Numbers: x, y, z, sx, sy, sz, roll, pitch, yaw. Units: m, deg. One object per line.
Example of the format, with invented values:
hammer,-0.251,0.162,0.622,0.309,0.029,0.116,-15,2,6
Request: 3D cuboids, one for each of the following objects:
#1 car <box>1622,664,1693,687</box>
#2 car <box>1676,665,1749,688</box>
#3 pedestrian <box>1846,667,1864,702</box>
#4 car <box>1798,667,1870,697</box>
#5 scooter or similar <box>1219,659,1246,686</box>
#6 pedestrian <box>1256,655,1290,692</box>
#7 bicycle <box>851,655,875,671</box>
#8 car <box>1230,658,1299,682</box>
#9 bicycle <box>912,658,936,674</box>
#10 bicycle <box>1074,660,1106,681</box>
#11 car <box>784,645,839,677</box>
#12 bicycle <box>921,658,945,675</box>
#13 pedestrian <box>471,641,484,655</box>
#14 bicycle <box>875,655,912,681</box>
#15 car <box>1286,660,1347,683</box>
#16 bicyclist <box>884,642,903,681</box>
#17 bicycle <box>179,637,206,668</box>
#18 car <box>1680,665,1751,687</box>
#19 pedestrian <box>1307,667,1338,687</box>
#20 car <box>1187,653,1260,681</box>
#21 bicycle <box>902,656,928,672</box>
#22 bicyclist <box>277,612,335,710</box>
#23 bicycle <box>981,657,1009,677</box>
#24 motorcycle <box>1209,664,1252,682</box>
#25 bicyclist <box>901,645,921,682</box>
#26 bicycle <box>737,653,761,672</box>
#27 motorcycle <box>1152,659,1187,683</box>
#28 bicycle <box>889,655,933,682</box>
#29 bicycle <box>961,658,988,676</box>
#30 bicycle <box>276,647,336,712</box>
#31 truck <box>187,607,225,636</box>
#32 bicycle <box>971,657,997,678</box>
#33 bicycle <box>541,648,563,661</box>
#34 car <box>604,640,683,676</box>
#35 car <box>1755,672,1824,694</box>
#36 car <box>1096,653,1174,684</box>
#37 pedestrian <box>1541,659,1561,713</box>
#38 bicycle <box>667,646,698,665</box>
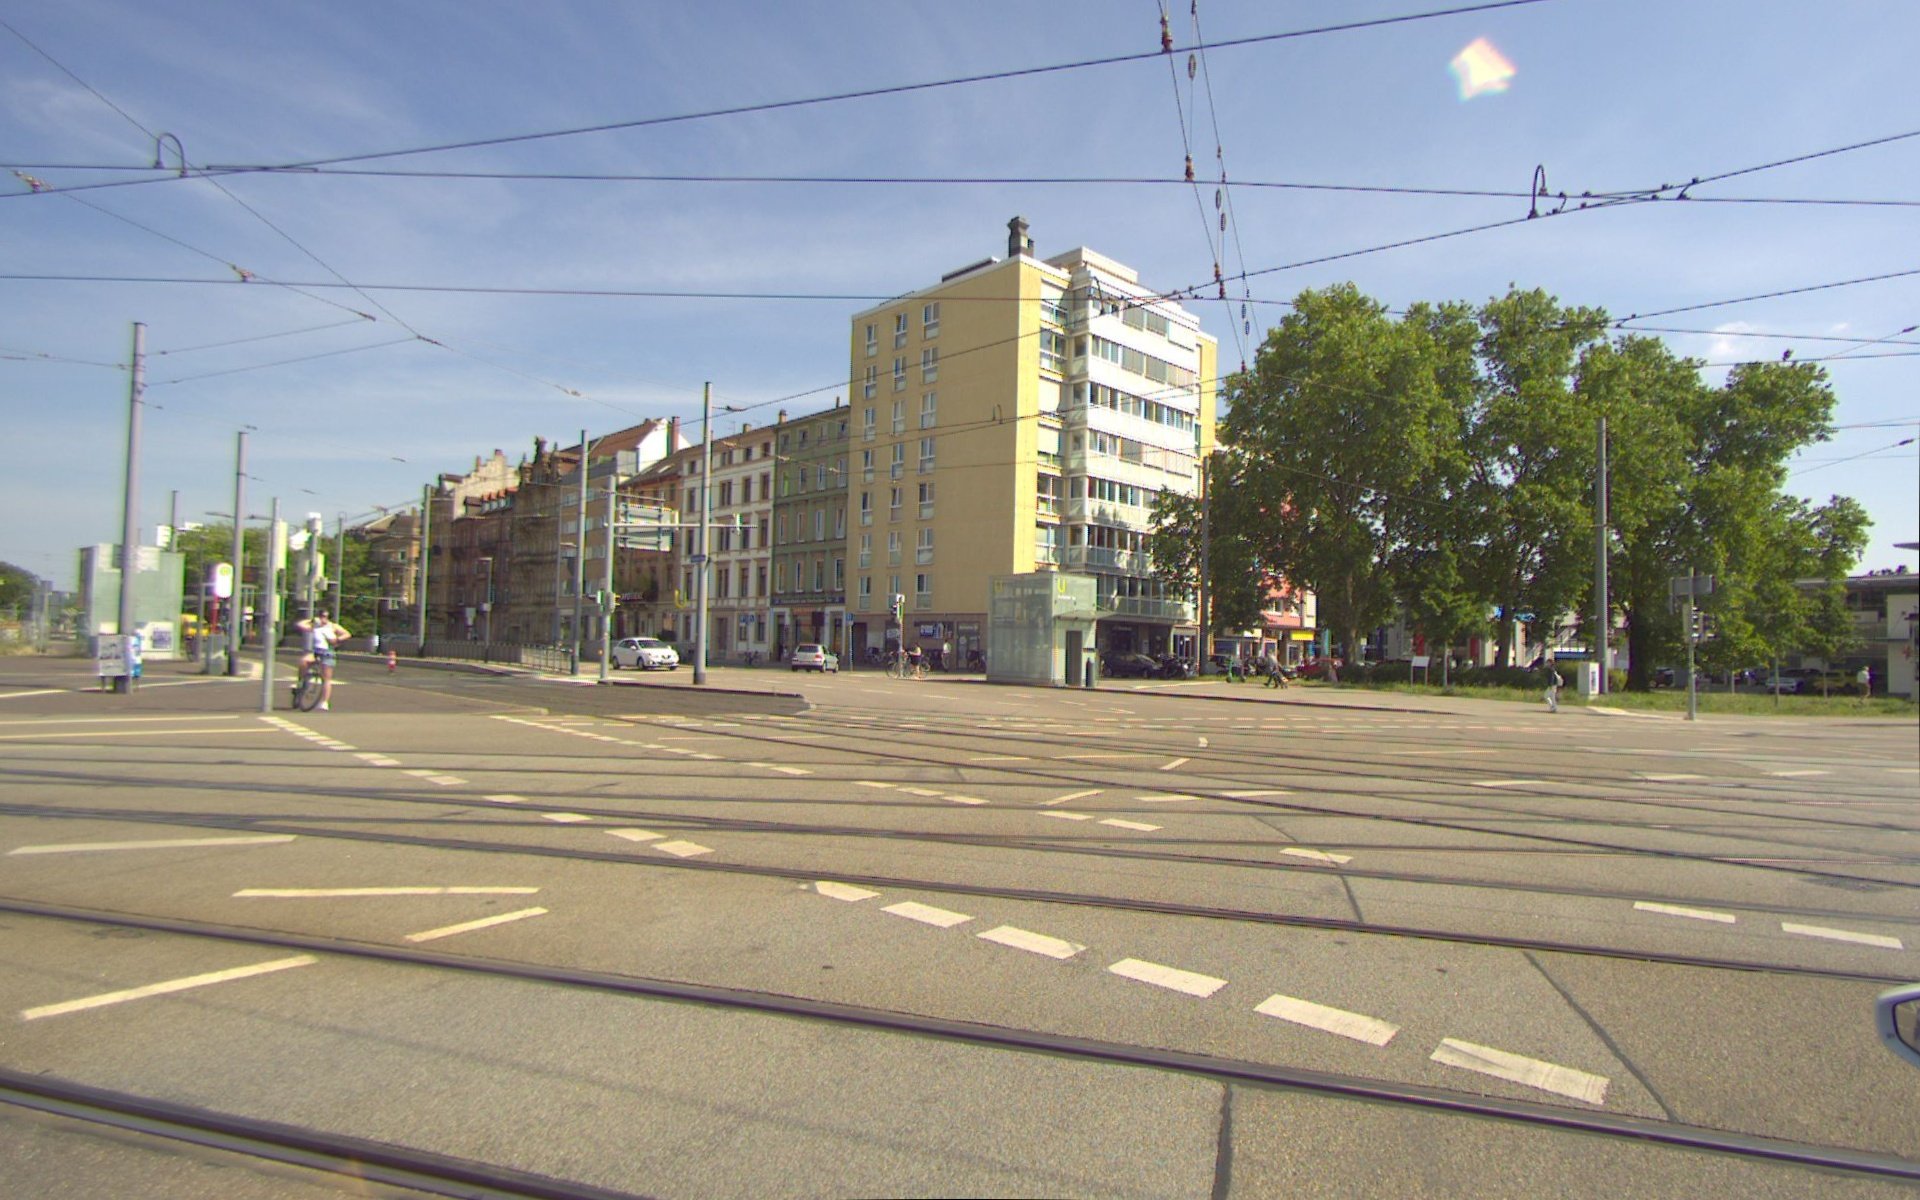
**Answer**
car,53.405,5.760,76.955,1.974,1.389,3.973,3,-1,-26
car,57.069,5.772,76.248,1.975,1.572,3.972,3,-3,-27
pedestrian,42.918,4.037,48.147,0.455,1.616,0.393,3,-1,-3
car,57.814,5.438,66.436,3.942,1.706,1.990,4,-1,-22
scooter or similar,11.885,3.145,43.800,0.509,1.134,1.360,2,-3,-16
pedestrian,12.715,2.963,40.785,1.101,1.422,0.653,2,-1,42
bicycle,-6.170,3.978,63.864,0.580,0.977,1.757,0,-2,-44
car,19.835,4.570,65.590,1.731,1.287,3.950,4,-2,-42
bicycle,-2.120,3.857,58.863,0.578,0.928,1.739,2,-3,-35
bicycle,6.967,3.747,53.823,1.738,1.100,0.579,2,-3,-33
car,-7.709,3.214,52.567,1.777,1.458,4.005,2,-5,8
bicycle,-1.598,3.890,59.063,0.578,0.928,1.739,2,-3,-35
pedestrian,-47.205,4.649,98.266,0.811,1.342,0.944,-1,-4,44
bicycle,-3.032,3.094,45.634,0.575,1.145,1.789,-1,-5,40
car,25.306,5.093,71.364,1.731,1.358,3.688,4,-2,-42
bicyclist,-3.013,2.778,45.472,0.575,1.757,0.615,-1,-4,40
bicycle,-28.786,1.944,37.670,0.408,1.085,1.653,2,-1,-24
car,58.949,5.929,78.425,1.975,1.527,3.972,3,-3,-27
pedestrian,17.342,3.691,48.047,1.160,0.904,0.817,-1,-4,45
car,16.416,4.146,62.696,1.878,1.459,3.950,4,-2,-42
bicycle,-2.732,3.855,60.234,0.580,0.928,1.735,3,-3,-42
bicyclist,-11.690,1.096,17.955,0.744,1.705,0.769,4,-5,-37
bicycle,1.935,3.690,55.105,0.578,1.056,1.739,2,-3,-36
motorcycle,13.484,3.627,50.135,1.997,0.853,0.641,1,-2,8
bicyclist,-2.148,2.815,44.361,0.605,1.592,0.728,3,-4,-26
bicycle,-13.014,3.846,61.840,0.580,1.109,1.797,0,-2,-43
motorcycle,9.752,3.296,46.789,0.630,1.075,2.030,2,-3,-18
bicycle,-2.145,3.018,44.302,1.773,1.145,0.750,3,-4,-26
bicycle,0.812,3.766,56.317,0.579,0.978,1.738,2,-3,-38
bicycle,-11.698,1.411,17.956,0.744,1.097,1.830,4,-5,-36
truck,-90.055,2.641,119.926,2.534,3.342,8.912,1,-2,-44
bicycle,1.296,3.664,54.919,0.577,1.100,1.742,-1,-2,-31
bicycle,-30.893,4.122,76.055,1.456,0.989,0.410,4,-2,-44
car,-14.066,2.520,44.545,1.747,1.417,4.072,-1,0,-43
car,56.449,5.632,68.379,3.942,1.260,1.990,3,-1,-22
car,9.639,3.782,55.399,1.648,1.489,4.042,8,-6,-42
pedestrian,18.304,2.672,31.127,0.446,1.626,0.399,2,-1,28
bicycle,-17.197,3.432,62.334,1.736,1.108,0.589,4,-3,-44
